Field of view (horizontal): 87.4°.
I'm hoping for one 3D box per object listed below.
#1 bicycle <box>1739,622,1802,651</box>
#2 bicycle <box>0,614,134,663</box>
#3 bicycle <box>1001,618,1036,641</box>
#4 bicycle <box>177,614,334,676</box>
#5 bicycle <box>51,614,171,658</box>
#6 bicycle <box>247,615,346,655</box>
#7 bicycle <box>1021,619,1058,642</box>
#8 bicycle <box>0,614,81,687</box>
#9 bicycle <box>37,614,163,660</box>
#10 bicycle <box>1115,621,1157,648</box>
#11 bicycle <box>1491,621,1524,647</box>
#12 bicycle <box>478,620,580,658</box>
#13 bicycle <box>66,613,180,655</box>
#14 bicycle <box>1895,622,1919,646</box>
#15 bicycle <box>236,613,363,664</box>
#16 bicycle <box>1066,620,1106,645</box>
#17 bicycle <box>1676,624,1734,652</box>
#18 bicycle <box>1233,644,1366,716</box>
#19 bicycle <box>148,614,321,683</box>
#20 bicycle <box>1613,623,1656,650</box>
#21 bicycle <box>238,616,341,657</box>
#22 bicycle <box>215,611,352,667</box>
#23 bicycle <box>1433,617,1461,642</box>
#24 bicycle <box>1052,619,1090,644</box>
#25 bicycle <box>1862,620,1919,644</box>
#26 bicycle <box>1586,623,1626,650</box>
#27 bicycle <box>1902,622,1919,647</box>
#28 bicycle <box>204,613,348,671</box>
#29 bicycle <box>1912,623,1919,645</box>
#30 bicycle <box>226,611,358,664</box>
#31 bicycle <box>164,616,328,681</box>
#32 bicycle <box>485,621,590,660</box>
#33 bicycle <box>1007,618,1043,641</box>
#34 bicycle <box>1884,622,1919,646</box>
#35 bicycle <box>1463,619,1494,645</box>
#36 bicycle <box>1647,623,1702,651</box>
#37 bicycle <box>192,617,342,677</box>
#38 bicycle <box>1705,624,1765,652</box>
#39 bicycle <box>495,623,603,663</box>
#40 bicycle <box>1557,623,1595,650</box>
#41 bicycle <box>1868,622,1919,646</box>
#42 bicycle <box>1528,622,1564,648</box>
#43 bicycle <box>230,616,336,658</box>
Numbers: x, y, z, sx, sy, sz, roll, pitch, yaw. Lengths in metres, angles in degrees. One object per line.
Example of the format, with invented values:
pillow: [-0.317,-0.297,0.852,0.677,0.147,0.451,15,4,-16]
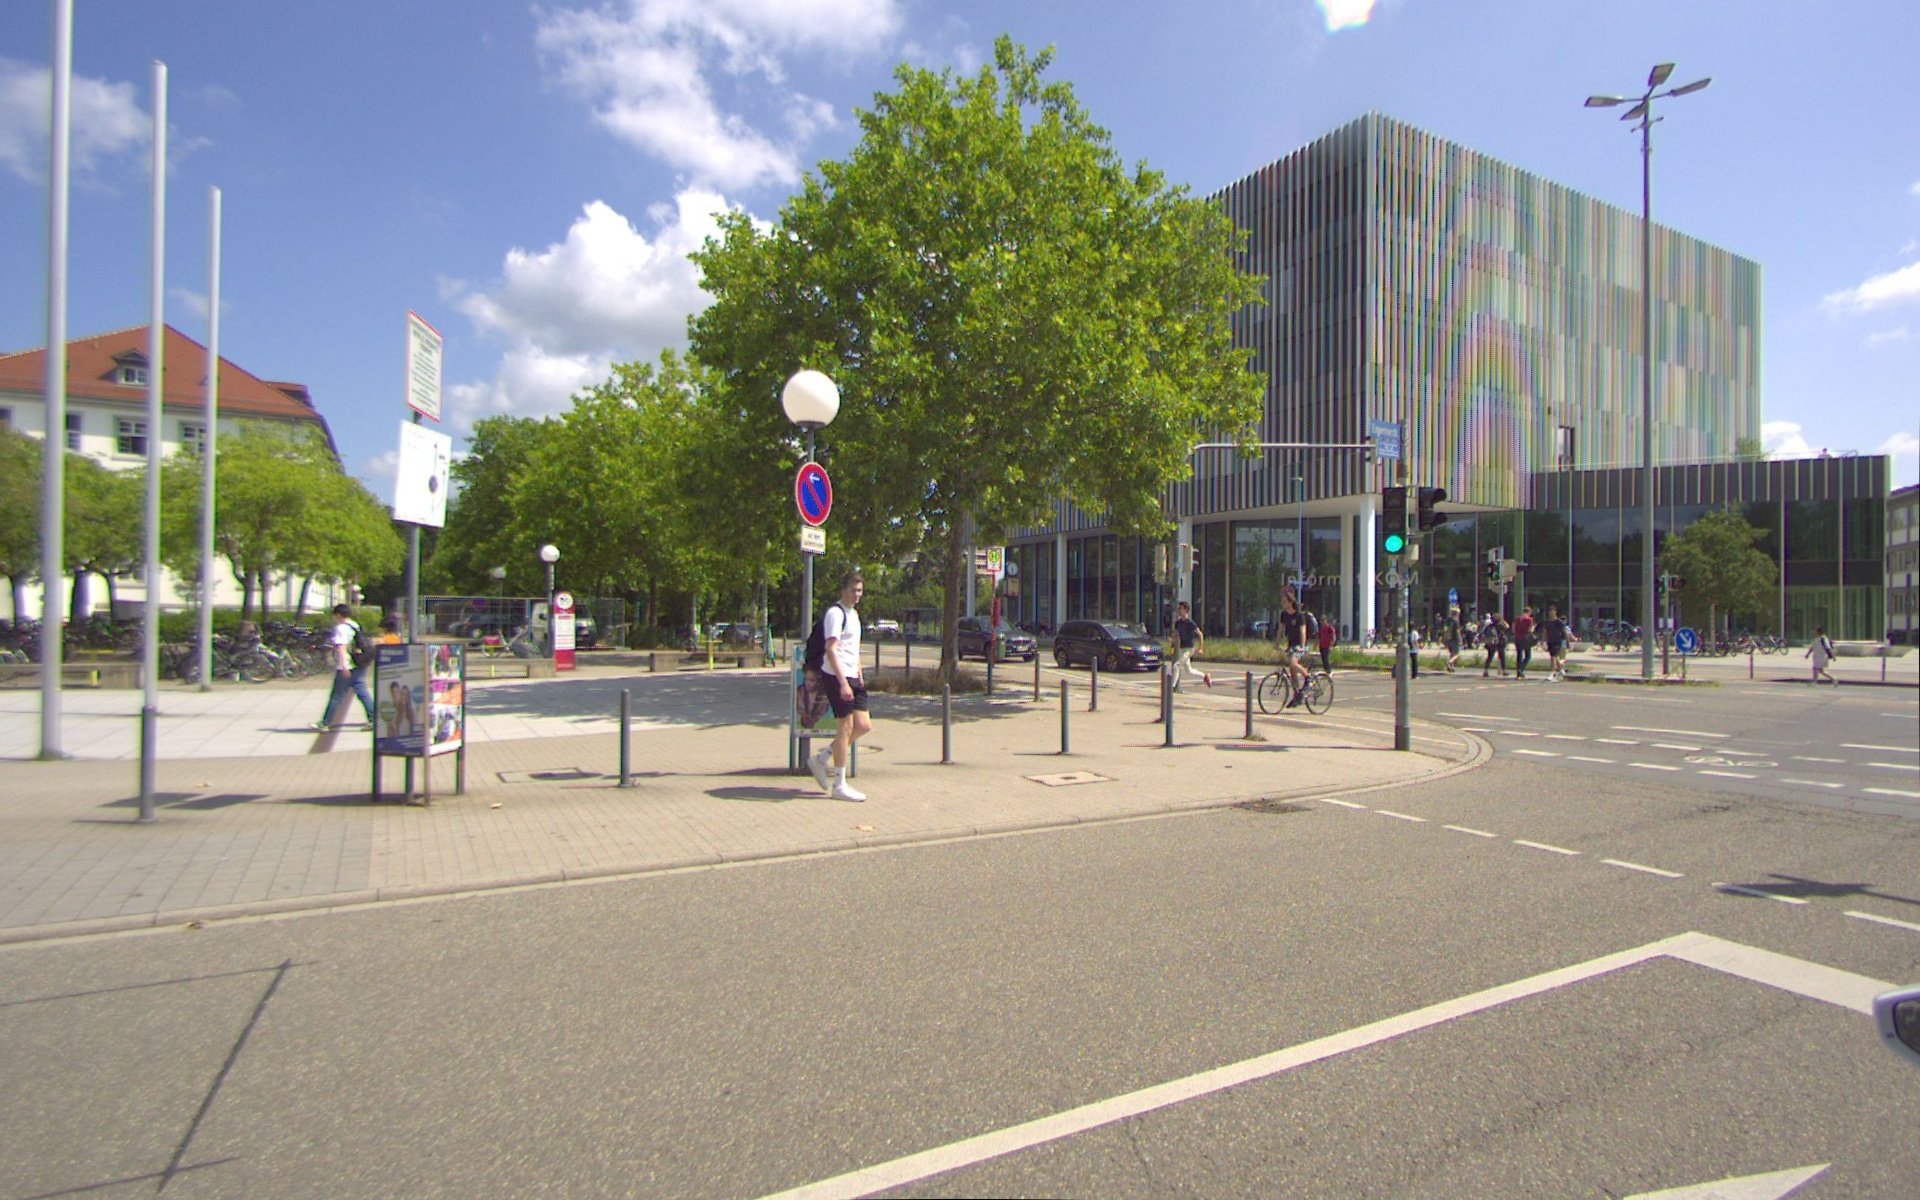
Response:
bicycle: [37.488,1.686,46.517,1.177,1.253,2.953,1,-1,15]
bicycle: [-27.427,1.183,30.900,2.899,1.430,1.063,1,0,-11]
bicycle: [4.941,2.482,84.923,2.916,1.863,0.955,1,-1,-30]
bicycle: [-16.852,1.073,24.152,2.911,1.430,1.011,1,-1,-25]
bicycle: [-28.515,1.206,33.807,2.917,1.430,1.057,1,-1,-31]
bicycle: [-24.638,1.312,37.390,2.911,1.430,1.059,1,-1,-25]
bicycle: [6.490,2.472,82.041,2.916,1.863,0.981,1,-1,-30]
bicycle: [-19.923,1.049,21.553,2.905,1.430,1.061,0,-1,38]
bicycle: [-27.749,1.198,32.506,2.917,1.430,1.057,1,-1,-31]
bicycle: [12.335,2.423,70.415,2.914,1.863,0.956,1,-1,-28]
bicycle: [27.584,1.691,50.658,1.178,1.253,2.950,1,-1,23]
bicycle: [-14.046,1.259,32.793,2.924,1.152,0.990,1,-1,-38]
bicycle: [-29.650,1.205,35.657,2.917,1.430,1.204,1,-1,-31]
bicycle: [64.164,2.273,66.608,2.908,1.595,1.116,1,-1,23]
bicycle: [-19.102,1.115,29.141,2.911,1.430,1.059,1,-1,-25]
bicycle: [9.557,2.448,76.107,2.914,1.863,0.955,1,-1,-28]
bicycle: [35.288,1.776,47.662,1.177,1.253,2.953,1,-1,15]
bicycle: [5.668,1.328,16.795,1.991,1.137,0.771,2,-2,-12]
bicycle: [-15.959,1.058,22.223,2.911,1.438,1.011,1,-1,-25]
bicycle: [32.856,1.756,48.958,1.178,1.253,2.950,1,-1,23]
bicycle: [-24.183,1.306,36.304,2.911,1.430,1.059,1,-1,-25]
bicycle: [-18.176,1.049,27.108,2.911,1.430,1.059,1,-1,-25]
bicycle: [24.985,1.489,51.575,1.178,1.253,2.950,1,-1,23]
bicycle: [8.593,2.456,77.951,2.914,1.863,0.955,1,-1,-28]
bicycle: [66.167,2.281,71.335,2.908,1.595,1.116,1,-1,23]
bicycle: [31.779,1.792,49.494,1.178,1.253,2.950,1,-1,23]
bicycle: [63.599,2.286,65.508,2.908,1.595,1.116,1,-1,23]
bicycle: [-17.701,1.082,26.111,2.911,1.430,1.059,1,-1,-25]
bicycle: [62.600,2.197,63.754,2.908,1.381,1.116,1,-1,23]
bicycle: [-18.630,1.035,28.114,2.911,1.430,1.059,1,-1,-25]
bicycle: [-16.401,1.101,23.189,2.911,1.435,1.011,1,-1,-25]
bicycle: [-13.416,1.279,31.941,2.924,1.163,0.990,1,-1,-38]
bicycle: [5.459,2.478,83.934,2.916,1.863,0.955,1,-1,-30]
bicycle: [65.134,2.313,68.489,2.908,1.595,1.116,1,-1,23]
bicycle: [26.406,1.623,51.167,1.178,1.253,2.950,1,-1,23]
bicycle: [34.085,1.768,47.968,1.177,1.253,2.953,1,-1,15]
bicycle: [-17.267,1.160,25.142,2.911,1.430,1.011,1,-1,-25]
bicycle: [36.368,1.762,47.186,1.177,1.253,2.953,1,-1,15]
bicycle: [-12.590,1.301,30.817,2.924,1.163,0.990,1,-1,-38]
bicycle: [30.623,1.788,49.994,1.178,1.253,2.950,1,-1,23]
bicycle: [65.488,2.340,70.144,2.908,1.595,1.116,1,-1,23]
bicycle: [29.449,1.743,50.516,1.178,1.253,2.950,1,-1,23]
bicycle: [-23.651,1.301,35.200,2.911,1.430,1.059,1,-1,-25]
